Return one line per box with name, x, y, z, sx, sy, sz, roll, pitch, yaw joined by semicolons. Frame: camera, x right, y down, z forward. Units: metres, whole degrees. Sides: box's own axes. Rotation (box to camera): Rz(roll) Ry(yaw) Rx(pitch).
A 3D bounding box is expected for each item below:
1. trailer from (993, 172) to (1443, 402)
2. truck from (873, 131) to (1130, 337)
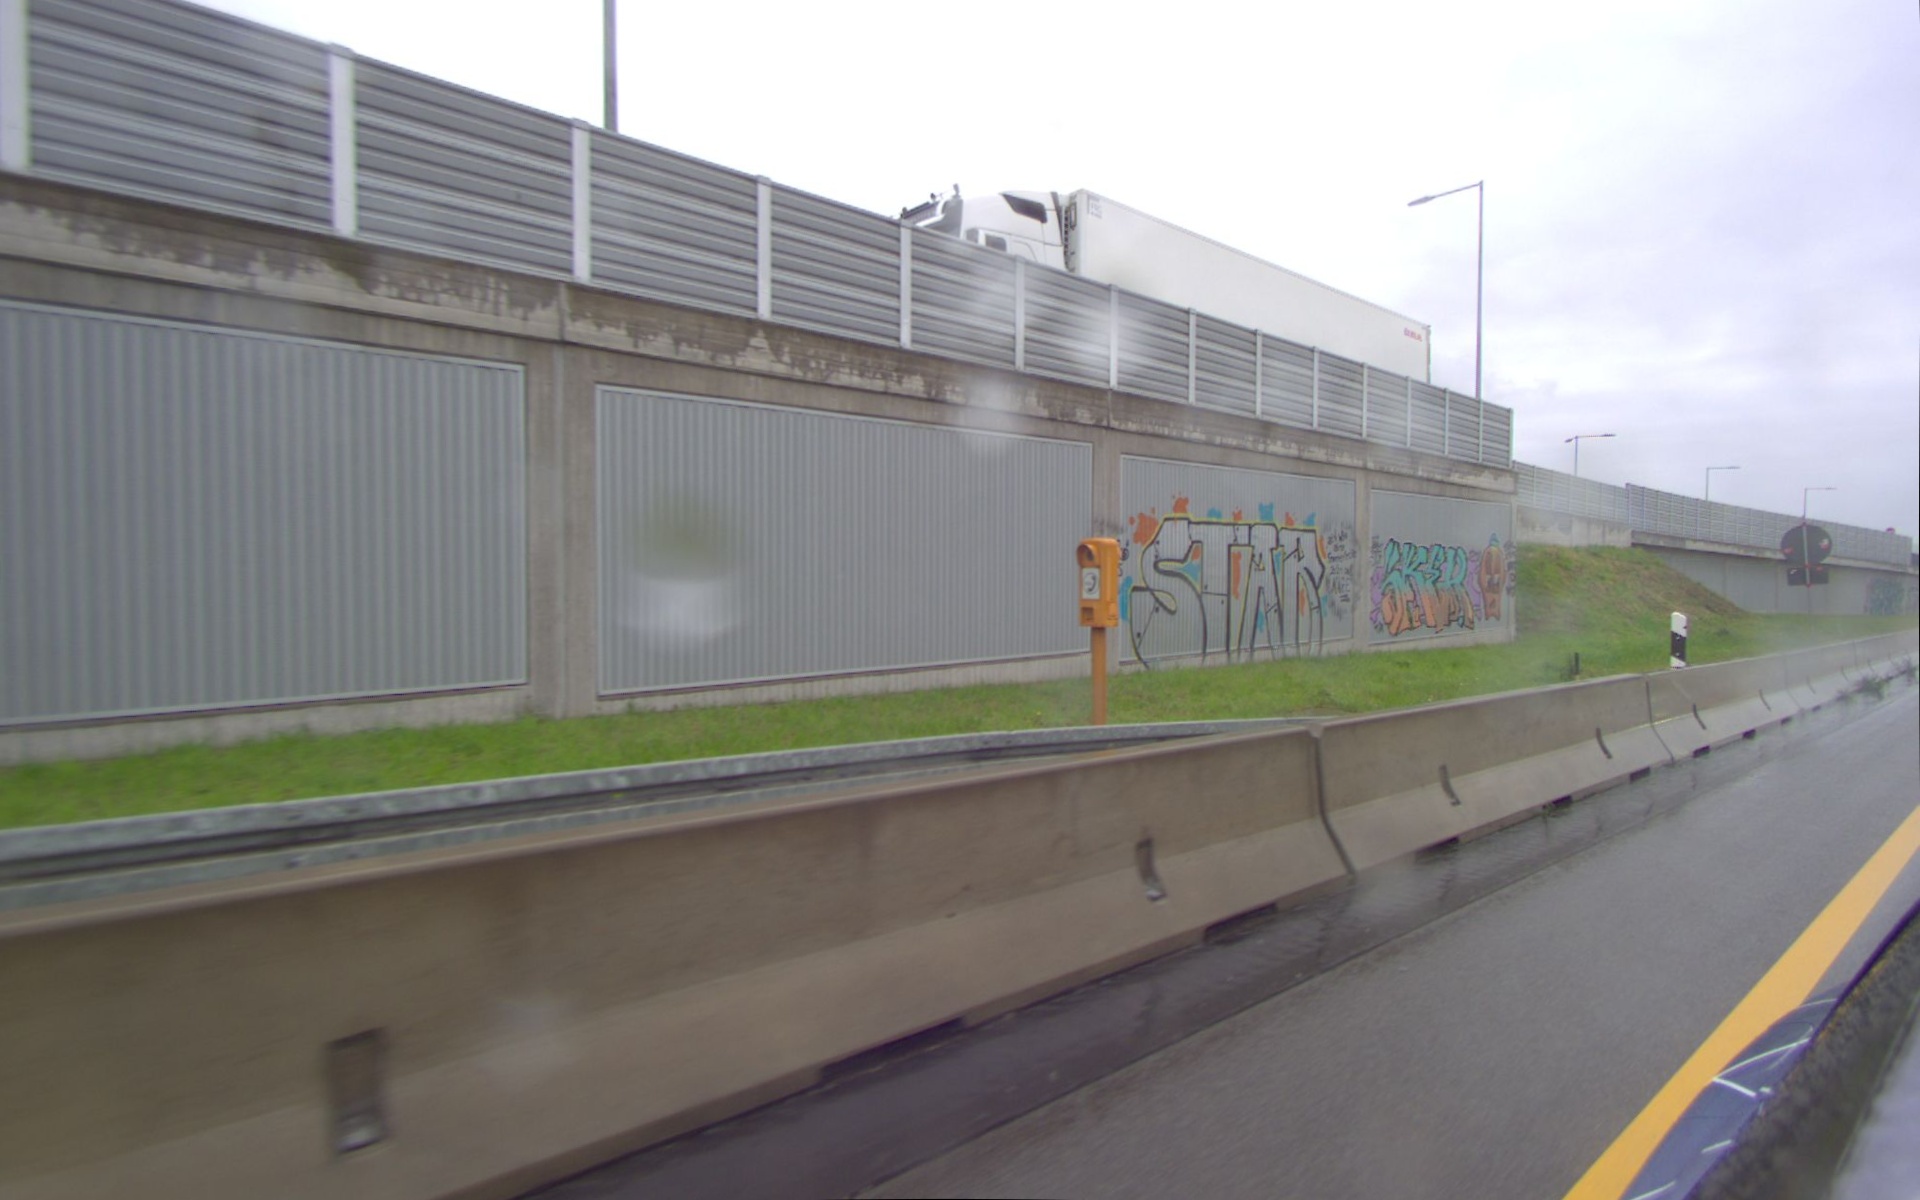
trailer;6.361;-6.133;21.746;13.529;2.132;1.997;-2;2;-41
truck;0.767;-5.879;16.844;3.988;2.039;1.997;-2;1;-41
